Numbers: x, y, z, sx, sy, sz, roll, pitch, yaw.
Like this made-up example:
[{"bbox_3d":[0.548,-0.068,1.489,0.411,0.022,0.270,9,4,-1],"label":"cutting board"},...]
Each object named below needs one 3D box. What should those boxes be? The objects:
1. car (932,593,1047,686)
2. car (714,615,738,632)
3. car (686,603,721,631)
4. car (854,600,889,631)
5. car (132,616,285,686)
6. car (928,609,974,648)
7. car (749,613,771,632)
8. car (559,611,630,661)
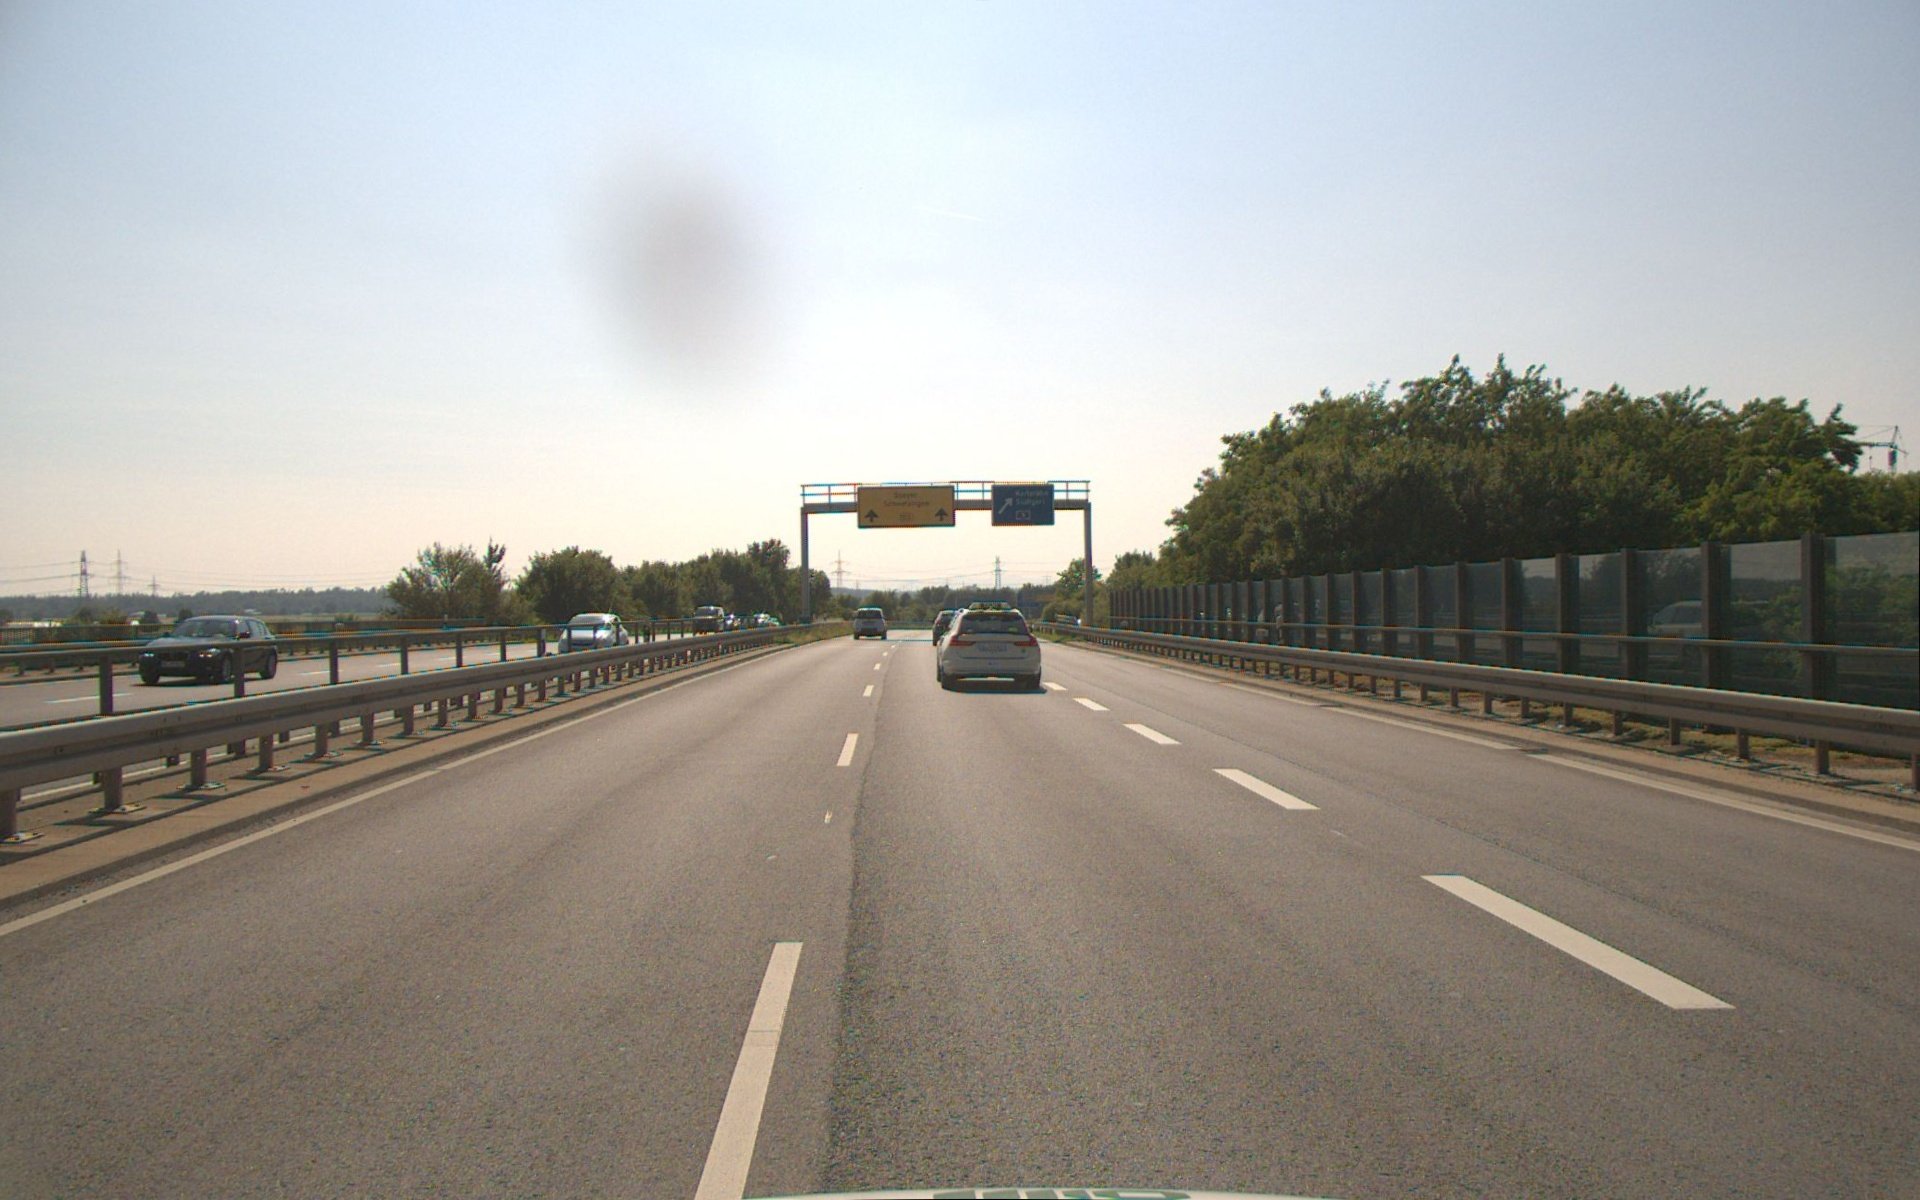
[{"bbox_3d":[0.497,0.707,31.638,1.919,1.629,4.104,1,0,-3],"label":"car"},{"bbox_3d":[-19.012,1.895,134.559,1.534,1.292,3.713,0,0,-3],"label":"car"},{"bbox_3d":[-18.685,1.230,120.574,1.953,1.939,4.416,0,0,-1],"label":"car"},{"bbox_3d":[-4.482,0.778,84.196,1.757,1.529,4.041,0,-1,-2],"label":"car"},{"bbox_3d":[-16.730,1.100,37.026,1.744,1.408,3.998,1,0,-3],"label":"car"},{"bbox_3d":[-0.388,1.166,68.874,1.757,1.570,3.669,0,-1,-3],"label":"car"},{"bbox_3d":[-18.636,2.075,154.184,1.698,1.645,4.000,0,0,-3],"label":"car"},{"bbox_3d":[-11.251,1.088,51.041,1.521,1.441,3.666,1,0,-3],"label":"car"}]
